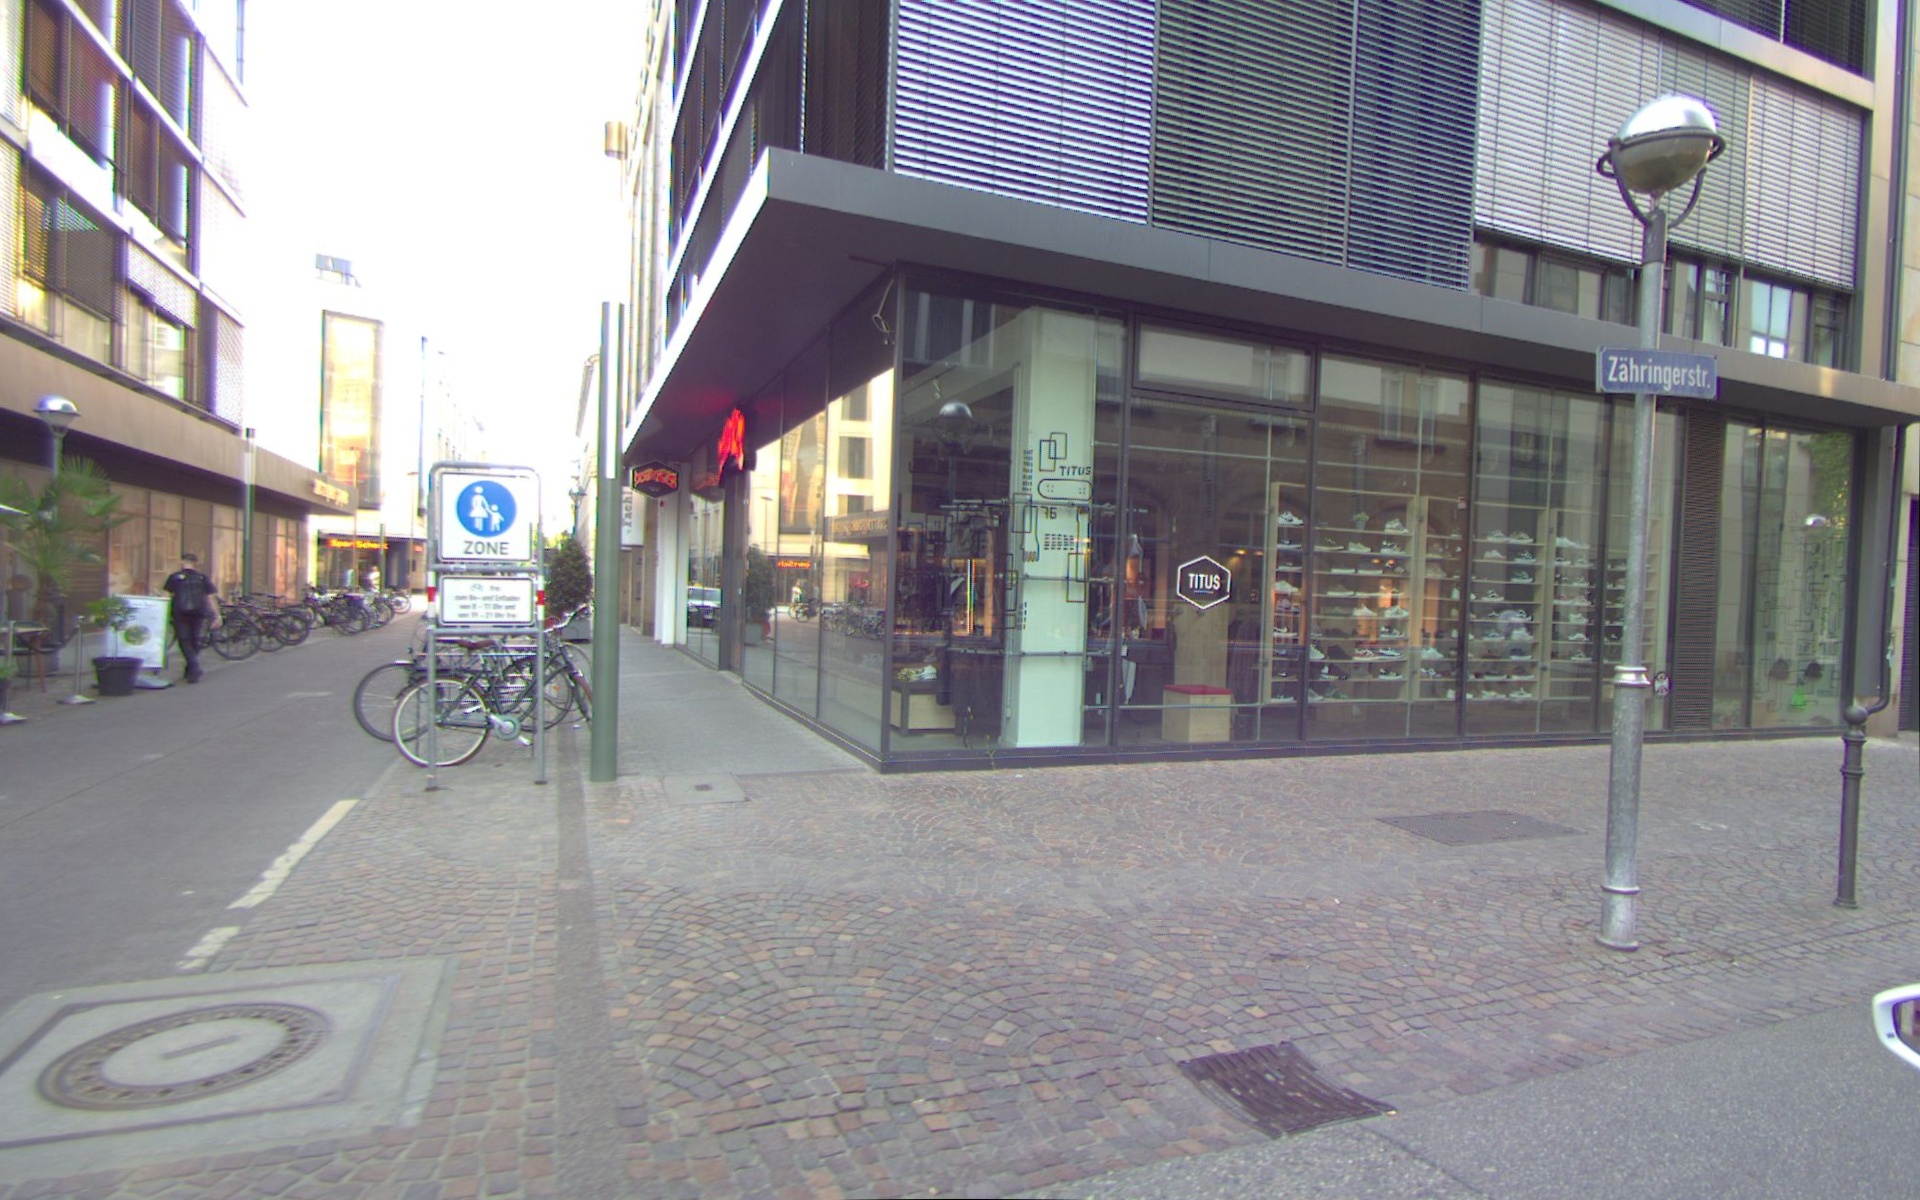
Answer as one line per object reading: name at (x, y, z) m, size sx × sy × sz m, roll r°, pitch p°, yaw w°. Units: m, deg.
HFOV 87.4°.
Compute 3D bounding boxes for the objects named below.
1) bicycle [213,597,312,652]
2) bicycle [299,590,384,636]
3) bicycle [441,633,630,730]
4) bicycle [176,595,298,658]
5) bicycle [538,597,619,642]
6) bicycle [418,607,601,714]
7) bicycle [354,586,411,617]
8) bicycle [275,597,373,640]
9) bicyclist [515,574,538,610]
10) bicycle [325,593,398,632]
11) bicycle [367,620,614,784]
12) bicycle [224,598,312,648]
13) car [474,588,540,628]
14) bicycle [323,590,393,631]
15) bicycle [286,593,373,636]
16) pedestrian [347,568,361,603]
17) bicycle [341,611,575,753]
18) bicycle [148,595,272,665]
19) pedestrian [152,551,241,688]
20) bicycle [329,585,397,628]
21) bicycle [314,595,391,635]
bicycle at (-13.822, 0.487, 19.941) m, size 1.535 × 1.051 × 0.463 m, roll 2°, pitch 1°, yaw -24°
bicycle at (-16.253, 0.340, 26.429) m, size 1.823 × 1.151 × 0.463 m, roll 2°, pitch 1°, yaw -24°
bicycle at (-4.366, 0.816, 10.414) m, size 1.768 × 0.907 × 0.451 m, roll 0°, pitch 1°, yaw -24°
bicycle at (-13.141, 0.491, 18.314) m, size 1.704 × 1.106 × 0.545 m, roll 2°, pitch 1°, yaw -24°
bicycle at (-9.010, 0.457, 23.761) m, size 1.769 × 1.028 × 0.365 m, roll 1°, pitch 1°, yaw -24°
bicycle at (-5.184, 0.674, 11.651) m, size 1.885 × 1.160 × 0.553 m, roll 1°, pitch 1°, yaw -24°
bicycle at (-20.738, 0.054, 36.066) m, size 1.709 × 1.076 × 0.434 m, roll 2°, pitch 1°, yaw -24°
bicycle at (-15.166, 0.443, 23.996) m, size 1.918 × 0.970 × 0.463 m, roll 2°, pitch 1°, yaw -24°
bicyclist at (-18.066, -0.334, 41.844) m, size 0.563 × 1.467 × 0.737 m, roll 1°, pitch 1°, yaw 12°
bicycle at (-17.103, 0.360, 28.727) m, size 1.709 × 1.065 × 0.463 m, roll 2°, pitch 1°, yaw -24°
bicycle at (-3.561, 0.733, 7.744) m, size 1.650 × 1.128 × 0.705 m, roll 0°, pitch 1°, yaw -24°
bicycle at (-14.482, 0.482, 21.054) m, size 1.435 × 1.019 × 0.463 m, roll 2°, pitch 1°, yaw -24°
car at (-15.283, 0.230, 34.033) m, size 1.603 × 1.238 × 3.473 m, roll 2°, pitch 0°, yaw -18°
bicycle at (-17.888, 0.321, 29.892) m, size 1.709 × 1.161 × 0.463 m, roll 2°, pitch 1°, yaw -24°
bicycle at (-15.711, 0.361, 25.075) m, size 1.770 × 1.021 × 0.528 m, roll 2°, pitch 1°, yaw -24°
pedestrian at (-28.074, -0.676, 46.500) m, size 0.474 × 1.573 × 0.430 m, roll 1°, pitch 1°, yaw -39°
bicycle at (-4.444, 0.692, 9.024) m, size 1.816 × 1.165 × 0.606 m, roll 0°, pitch 1°, yaw -24°
bicycle at (-12.288, 0.499, 16.497) m, size 1.521 × 1.099 × 0.545 m, roll 2°, pitch 1°, yaw -24°
pedestrian at (-10.580, 0.250, 13.914) m, size 0.953 × 1.809 × 0.737 m, roll 2°, pitch 1°, yaw 38°
bicycle at (-18.223, 0.205, 30.667) m, size 1.709 × 1.245 × 0.463 m, roll 2°, pitch 1°, yaw -24°
bicycle at (-16.690, 0.411, 27.643) m, size 1.752 × 1.065 × 0.463 m, roll 2°, pitch 1°, yaw -24°
